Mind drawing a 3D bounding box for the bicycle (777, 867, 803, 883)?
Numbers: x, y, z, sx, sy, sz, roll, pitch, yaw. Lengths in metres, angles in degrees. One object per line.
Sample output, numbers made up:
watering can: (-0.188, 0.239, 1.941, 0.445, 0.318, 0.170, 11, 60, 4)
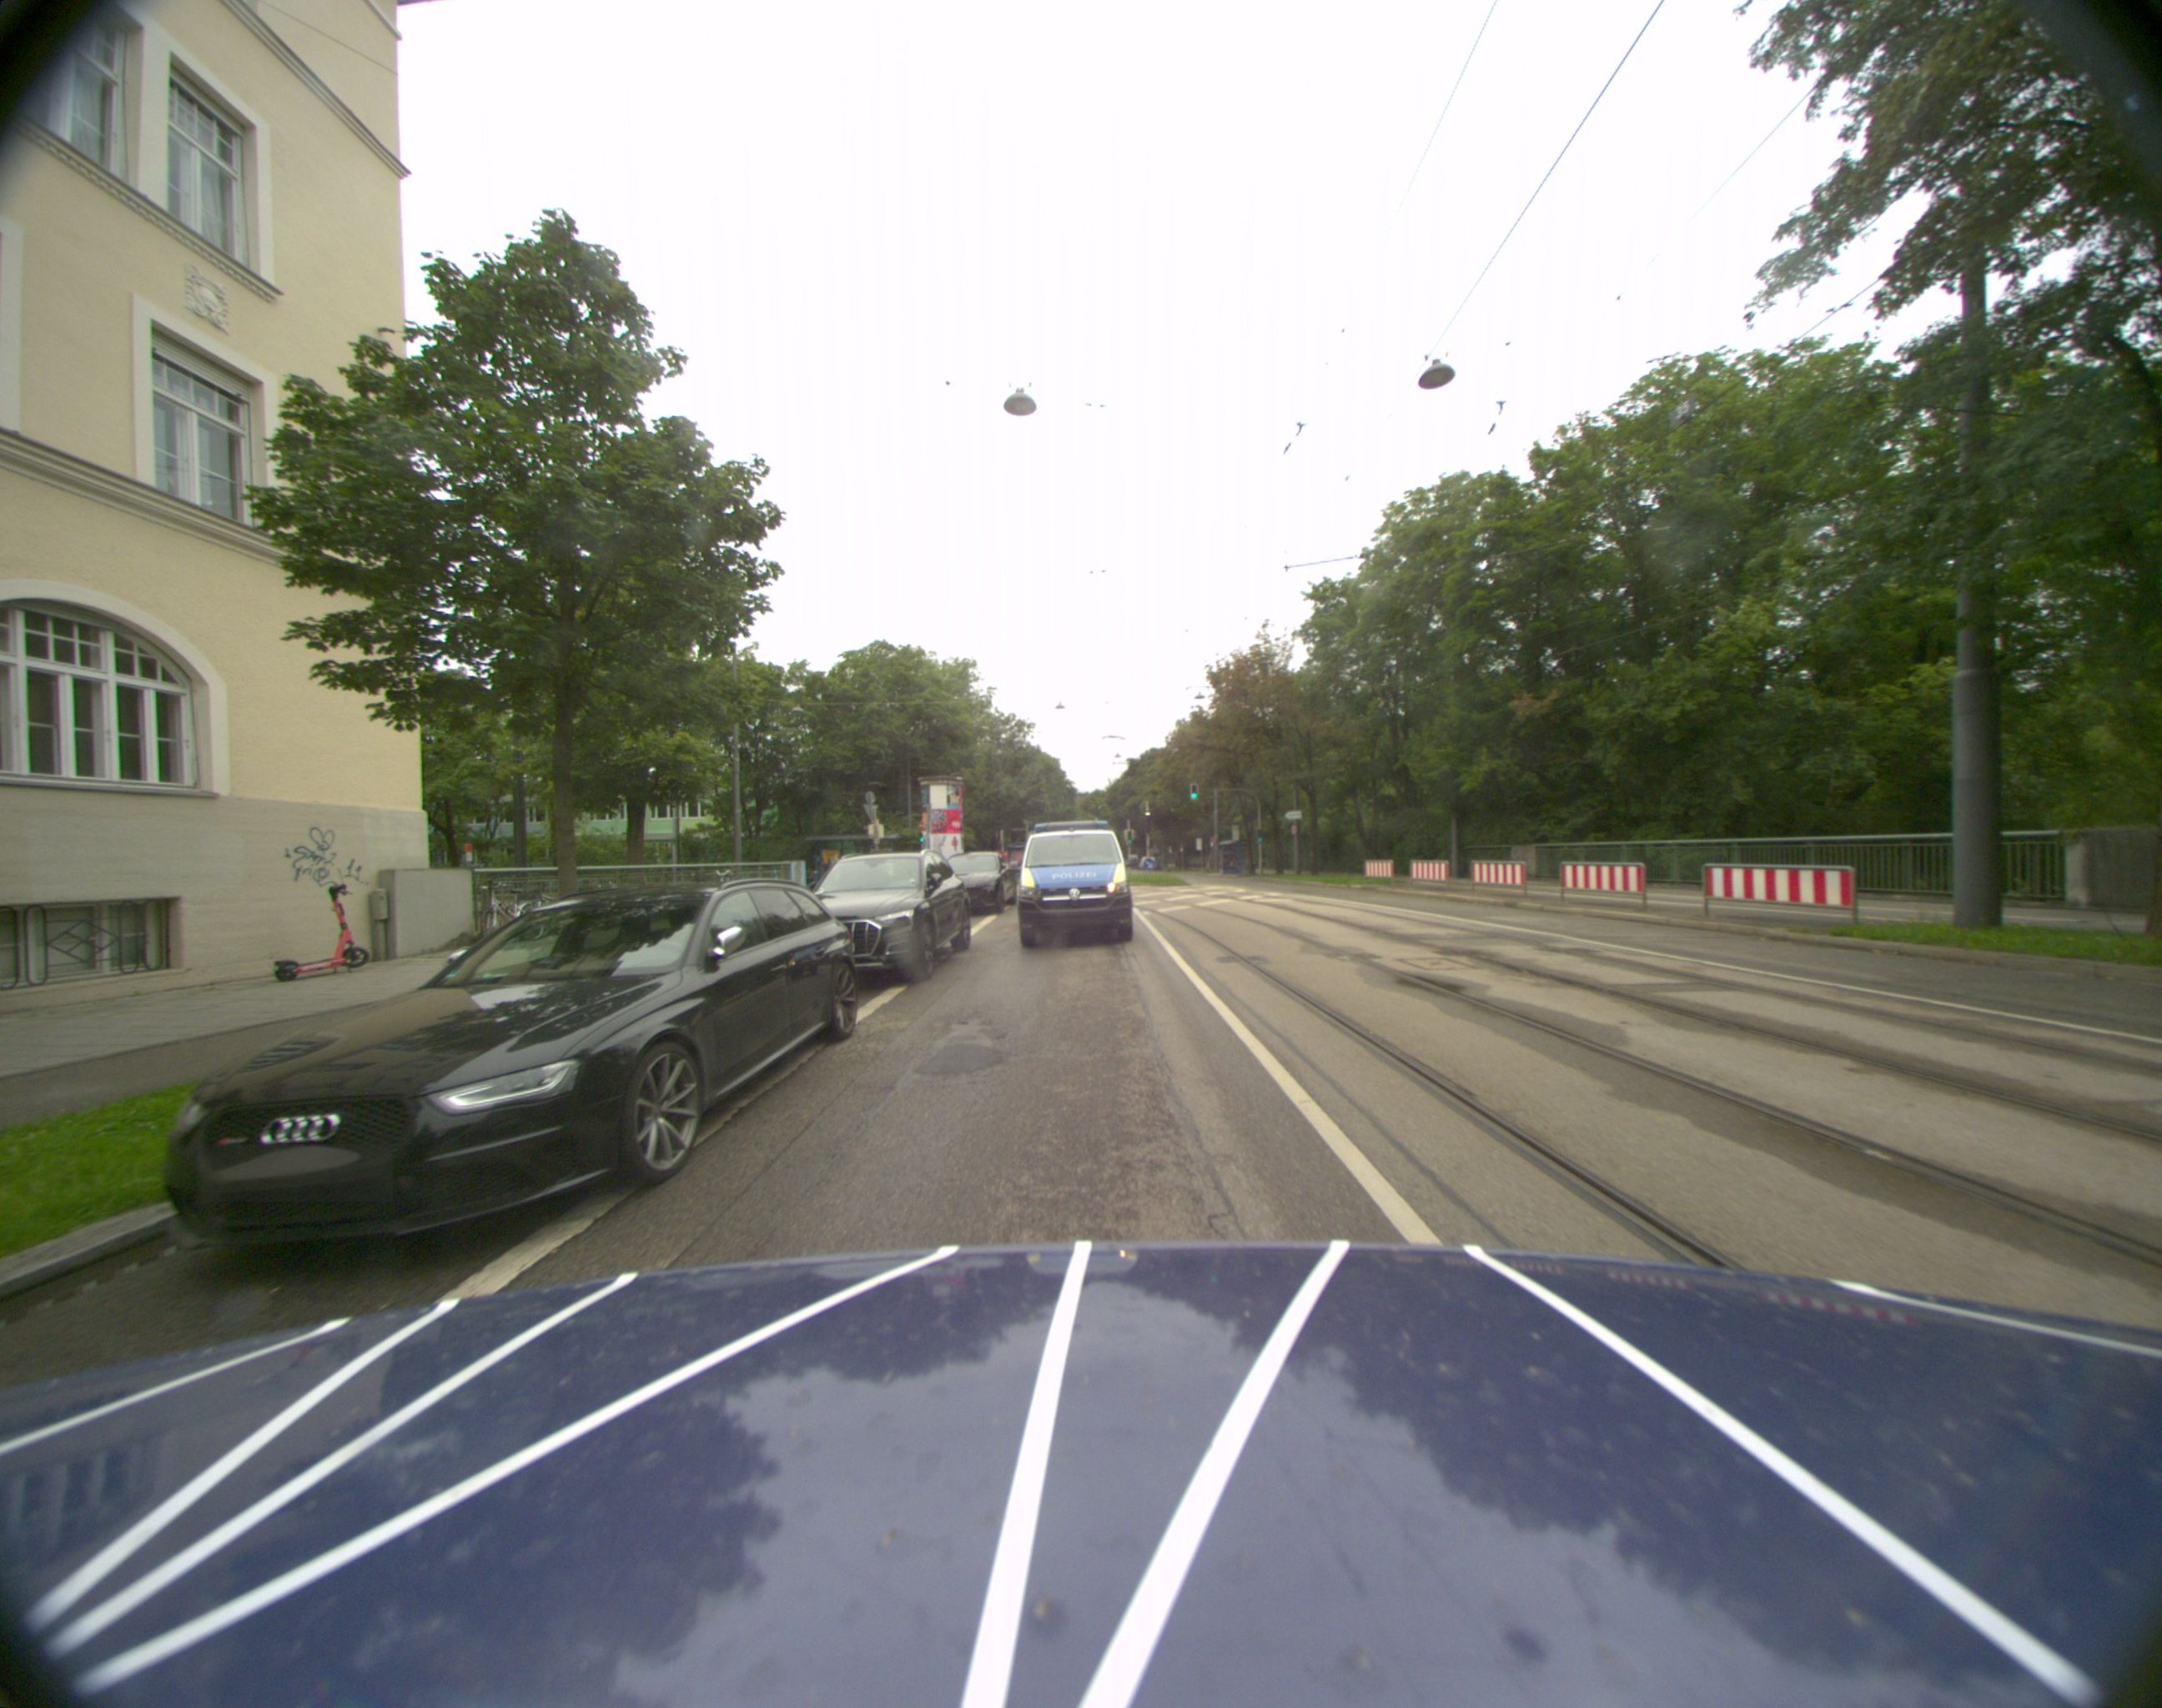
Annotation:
bicycle: (-18.527, 1.328, 48.380, 1.483, 0.946, 0.373, -2, 1, 3)

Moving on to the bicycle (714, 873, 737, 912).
bicycle: (-10.631, 1.140, 22.744, 0.265, 1.076, 1.540, -4, 1, -14)

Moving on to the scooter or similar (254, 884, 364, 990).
scooter or similar: (-10.513, 1.094, 10.388, 0.262, 1.305, 1.142, -3, 1, -1)

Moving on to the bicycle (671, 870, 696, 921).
bicycle: (-10.480, 1.070, 20.050, 0.283, 1.274, 1.408, -4, 1, -19)

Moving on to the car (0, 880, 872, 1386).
car: (-2.893, 1.037, 4.886, 1.720, 1.418, 4.601, -3, 1, 0)

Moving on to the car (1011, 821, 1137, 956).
car: (-0.159, 0.500, 14.597, 1.903, 2.041, 5.707, -1, 1, -1)

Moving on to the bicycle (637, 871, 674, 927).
bicycle: (-10.545, 1.094, 18.853, 0.282, 1.274, 1.409, -4, 1, -11)

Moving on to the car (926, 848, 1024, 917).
car: (-2.810, 0.707, 21.182, 1.905, 1.600, 4.665, -3, 0, 1)

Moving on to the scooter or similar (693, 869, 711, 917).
scooter or similar: (-10.478, 1.064, 21.041, 0.245, 1.255, 1.493, -4, 1, -22)

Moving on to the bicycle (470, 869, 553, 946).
bicycle: (-10.759, 0.976, 14.416, 0.333, 1.304, 1.537, -3, 1, -1)

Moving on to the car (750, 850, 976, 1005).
car: (-2.793, 0.831, 10.902, 1.779, 1.648, 4.487, -3, 1, 1)

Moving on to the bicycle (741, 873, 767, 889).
bicycle: (-20.925, 1.730, 48.613, 1.483, 0.946, 0.373, -2, 1, 3)

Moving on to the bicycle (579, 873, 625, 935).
bicycle: (-10.562, 1.077, 16.795, 0.282, 1.274, 1.409, -4, 1, -11)

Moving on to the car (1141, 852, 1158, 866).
car: (9.348, 0.643, 104.022, 1.888, 1.716, 3.999, -3, 1, -1)

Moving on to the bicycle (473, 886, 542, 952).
bicycle: (-10.671, 1.178, 14.192, 0.287, 1.099, 1.442, -2, 1, -7)
